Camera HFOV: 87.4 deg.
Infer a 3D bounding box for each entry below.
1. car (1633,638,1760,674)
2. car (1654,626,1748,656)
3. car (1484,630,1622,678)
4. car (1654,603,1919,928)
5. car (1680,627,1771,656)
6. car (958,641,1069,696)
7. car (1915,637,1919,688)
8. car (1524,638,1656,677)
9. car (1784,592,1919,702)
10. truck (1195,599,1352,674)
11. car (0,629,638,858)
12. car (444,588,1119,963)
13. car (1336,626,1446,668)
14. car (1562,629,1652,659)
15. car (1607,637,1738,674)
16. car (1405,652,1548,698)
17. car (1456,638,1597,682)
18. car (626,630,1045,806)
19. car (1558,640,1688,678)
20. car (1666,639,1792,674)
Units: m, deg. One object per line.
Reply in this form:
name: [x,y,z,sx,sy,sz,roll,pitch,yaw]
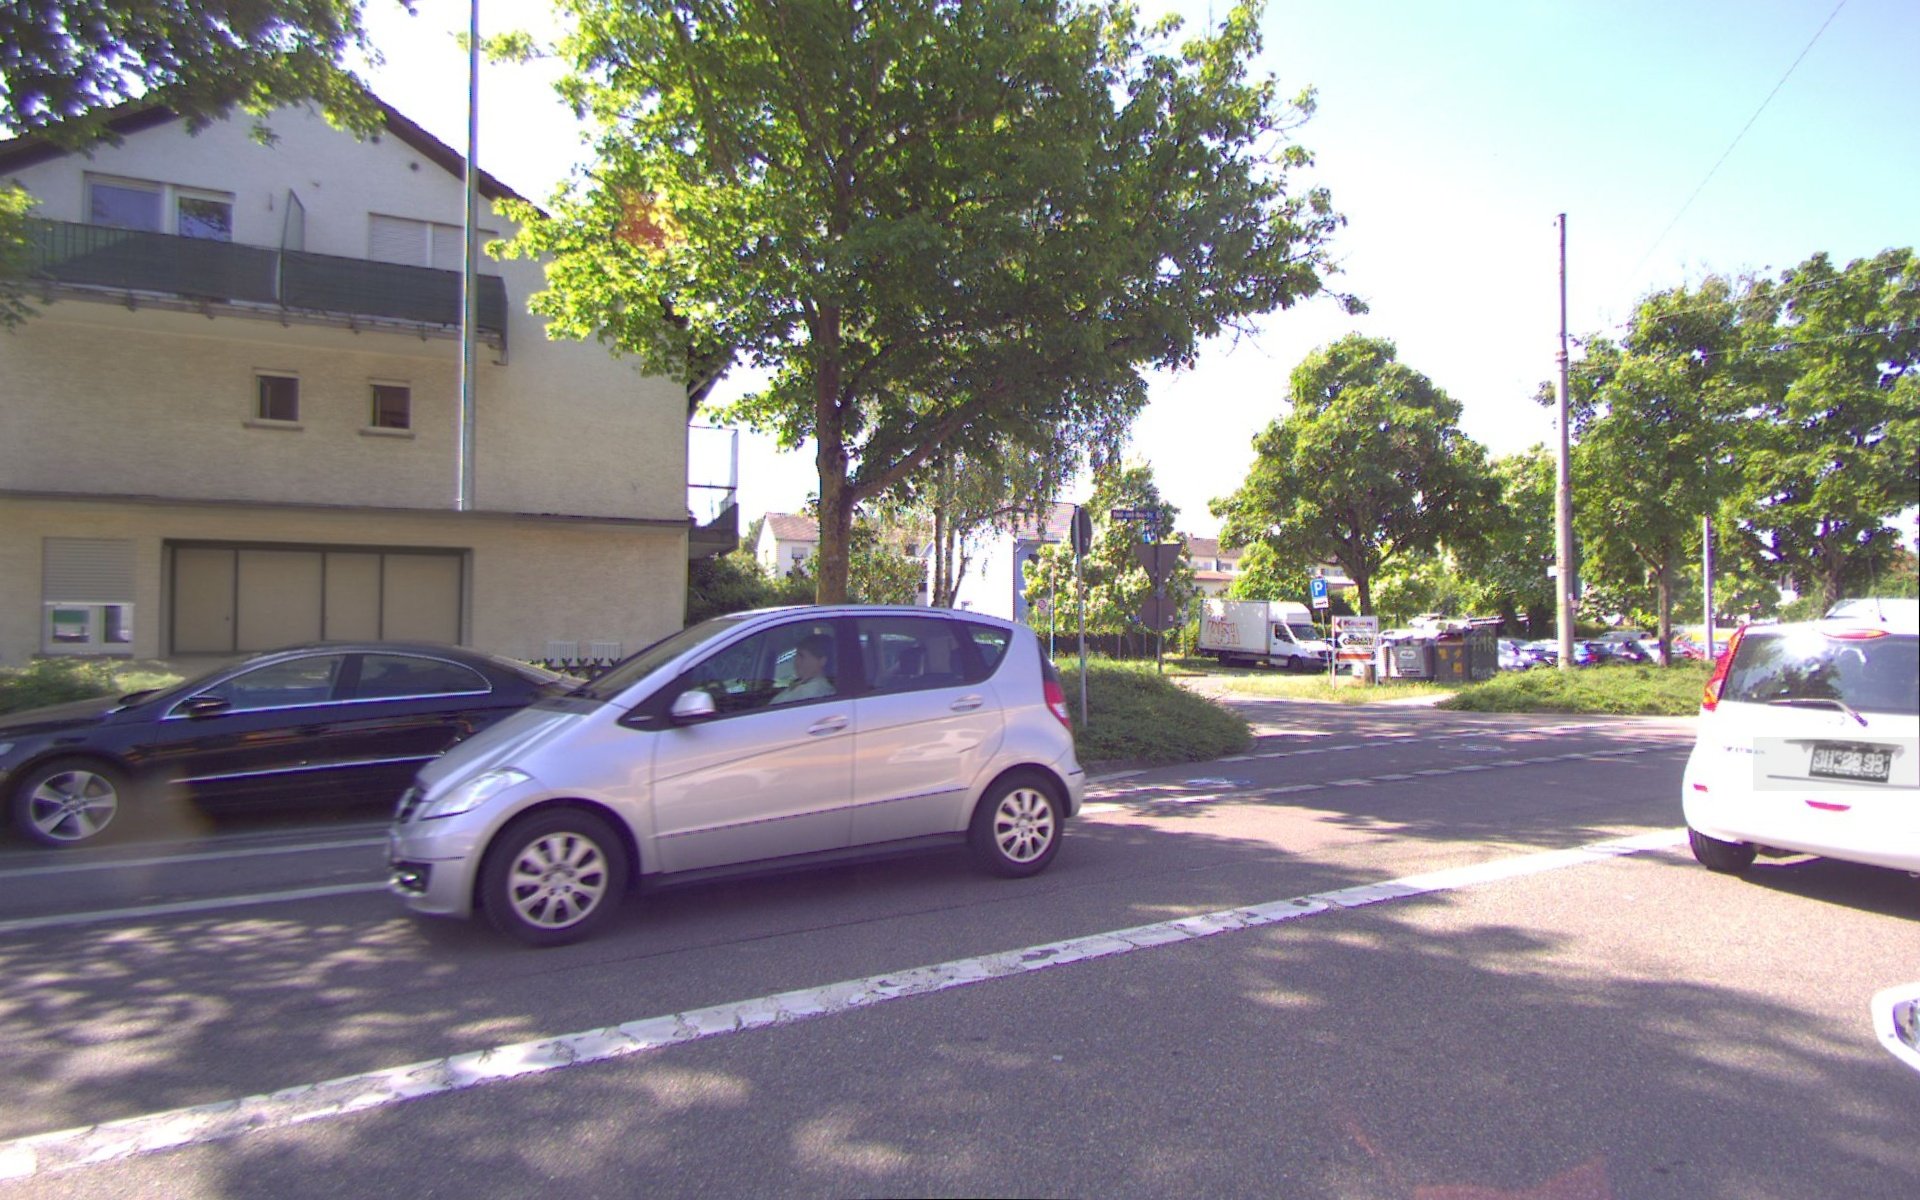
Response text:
car: [30.761,2.343,42.057,1.712,1.434,3.964,2,-4,-33]
car: [50.584,2.787,68.691,2.043,1.811,4.762,2,0,-34]
car: [21.452,1.980,36.497,1.712,1.631,3.964,2,-4,-33]
car: [6.419,0.843,6.268,4.491,1.568,1.655,1,-1,-29]
car: [54.455,2.919,71.510,2.043,1.811,4.762,2,0,-34]
car: [1.427,1.909,28.426,1.704,1.434,3.983,1,-3,-20]
car: [29.365,1.826,28.751,4.230,1.434,1.854,1,0,-31]
car: [24.190,2.221,38.690,1.712,1.434,3.964,2,-4,-33]
car: [23.809,1.148,25.751,5.745,2.550,2.114,1,0,-29]
truck: [14.439,1.579,46.818,2.646,3.151,6.967,1,0,-30]
car: [-5.232,1.006,8.363,4.568,1.434,1.854,1,0,-31]
car: [-0.981,0.815,5.881,3.538,1.573,1.668,1,-3,-31]
car: [21.654,2.332,50.643,2.043,1.811,4.762,2,0,-34]
car: [44.547,3.002,69.265,2.043,1.811,4.762,2,0,-34]
car: [28.833,2.252,40.746,1.712,1.434,3.964,2,-4,-33]
car: [17.341,2.496,33.878,1.712,1.434,3.964,2,-4,-33]
car: [19.713,2.082,35.100,1.712,1.434,3.964,2,-4,-33]
car: [-1.263,1.097,10.468,3.988,1.462,1.718,1,0,-28]
car: [26.371,2.337,40.071,1.712,1.434,3.964,2,-4,-33]
car: [33.184,2.456,43.426,1.712,1.434,3.964,2,-4,-33]
